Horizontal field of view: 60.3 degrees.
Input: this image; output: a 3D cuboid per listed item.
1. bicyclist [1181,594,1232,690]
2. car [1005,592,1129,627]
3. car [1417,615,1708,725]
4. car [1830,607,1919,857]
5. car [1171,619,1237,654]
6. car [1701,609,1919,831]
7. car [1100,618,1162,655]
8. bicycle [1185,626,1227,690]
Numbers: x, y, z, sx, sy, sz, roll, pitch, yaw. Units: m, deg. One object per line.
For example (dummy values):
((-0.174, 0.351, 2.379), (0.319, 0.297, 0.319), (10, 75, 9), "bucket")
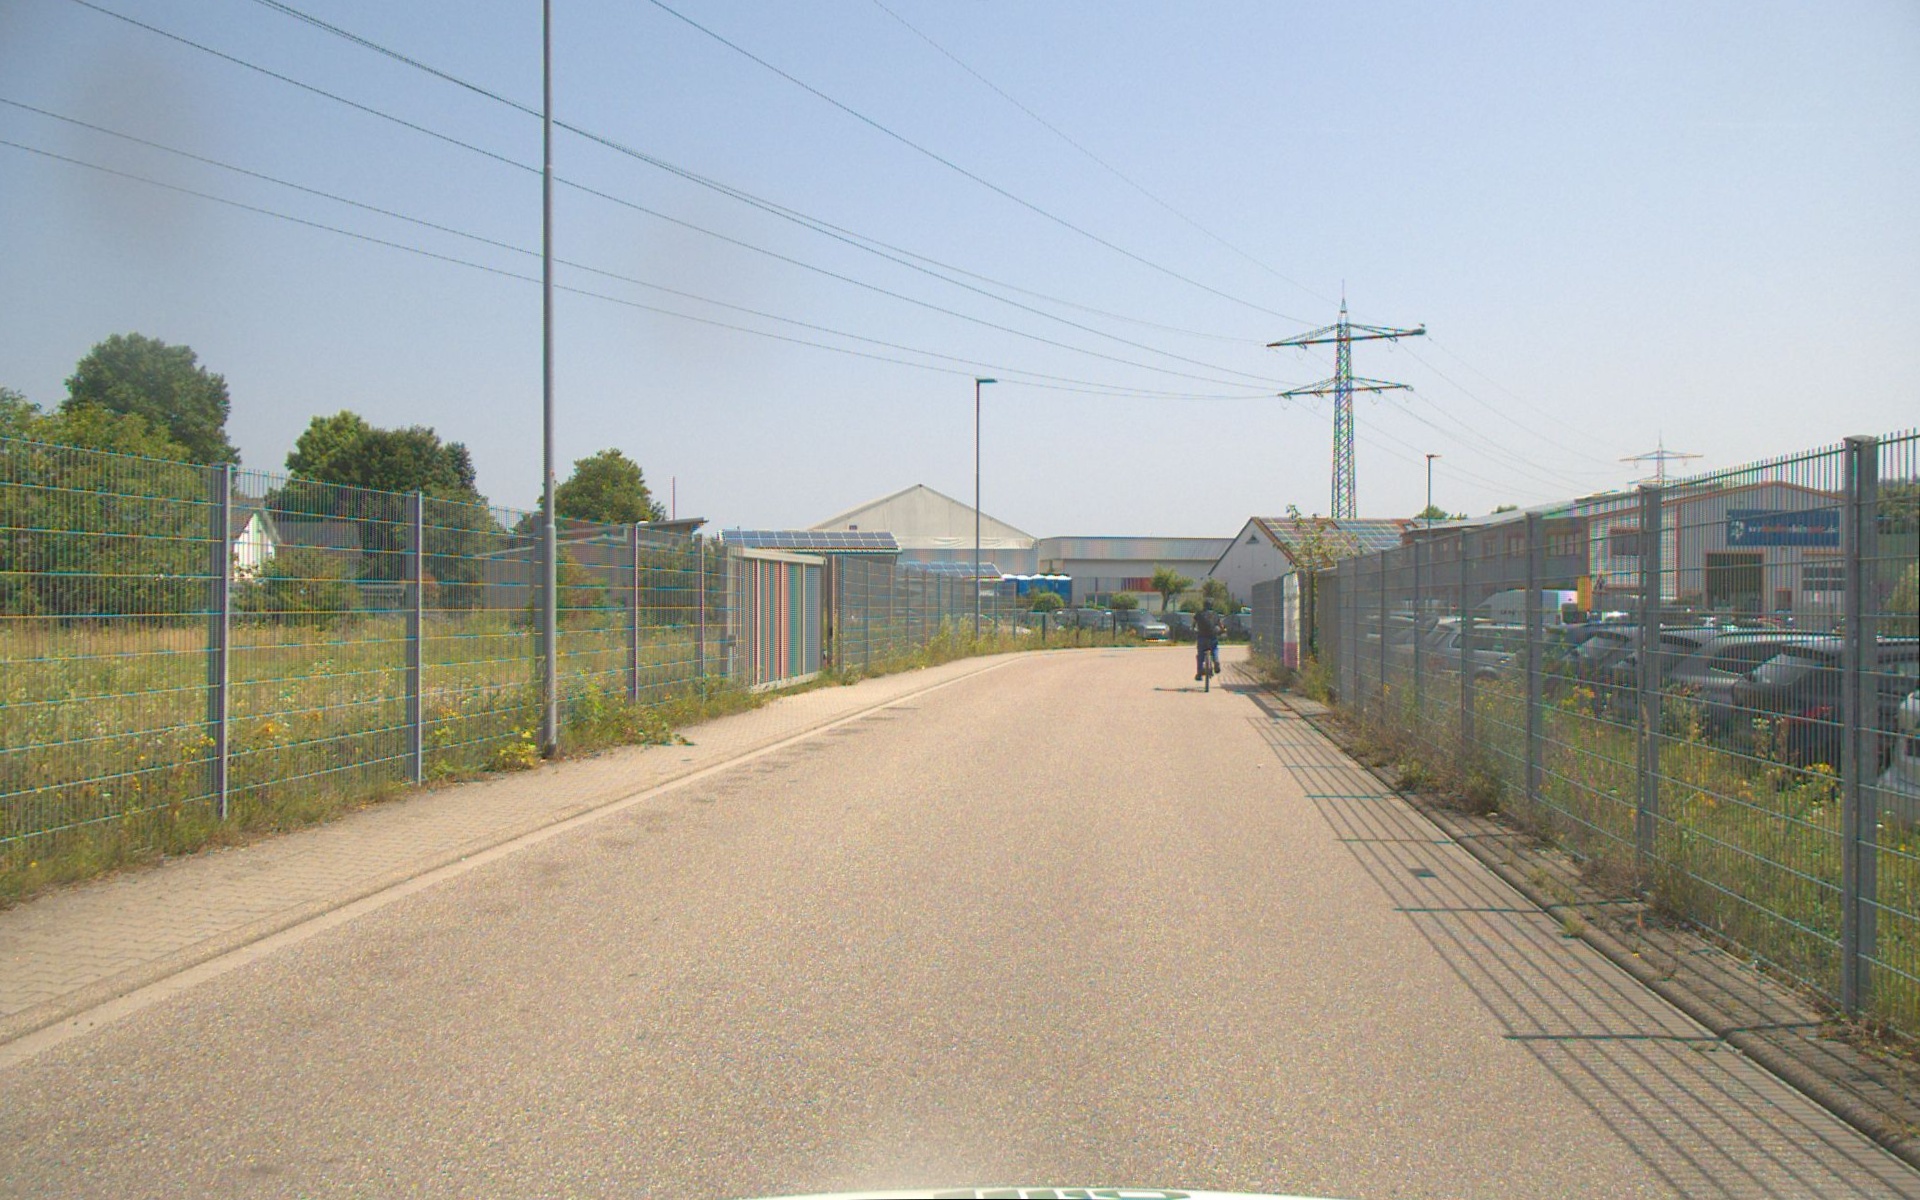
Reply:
((4.427, 0.740, 29.661), (0.824, 1.646, 1.040), (1, 1, 10), "bicyclist")
((4.117, 0.376, 63.758), (4.467, 1.330, 1.863), (0, -1, -12), "car")
((9.690, 1.102, 26.830), (4.077, 1.499, 1.638), (3, 0, 3), "car")
((7.656, 0.867, 9.692), (4.121, 1.430, 1.840), (3, 0, 10), "car")
((11.242, 1.659, 76.308), (1.830, 1.581, 3.759), (0, -1, -12), "car")
((7.714, 0.891, 11.719), (4.121, 1.430, 1.840), (3, 0, 10), "car")
((7.853, 1.659, 76.232), (1.830, 1.672, 3.622), (0, -1, -12), "car")
((4.431, 1.031, 29.774), (0.670, 1.070, 1.902), (1, 0, 10), "bicycle")
